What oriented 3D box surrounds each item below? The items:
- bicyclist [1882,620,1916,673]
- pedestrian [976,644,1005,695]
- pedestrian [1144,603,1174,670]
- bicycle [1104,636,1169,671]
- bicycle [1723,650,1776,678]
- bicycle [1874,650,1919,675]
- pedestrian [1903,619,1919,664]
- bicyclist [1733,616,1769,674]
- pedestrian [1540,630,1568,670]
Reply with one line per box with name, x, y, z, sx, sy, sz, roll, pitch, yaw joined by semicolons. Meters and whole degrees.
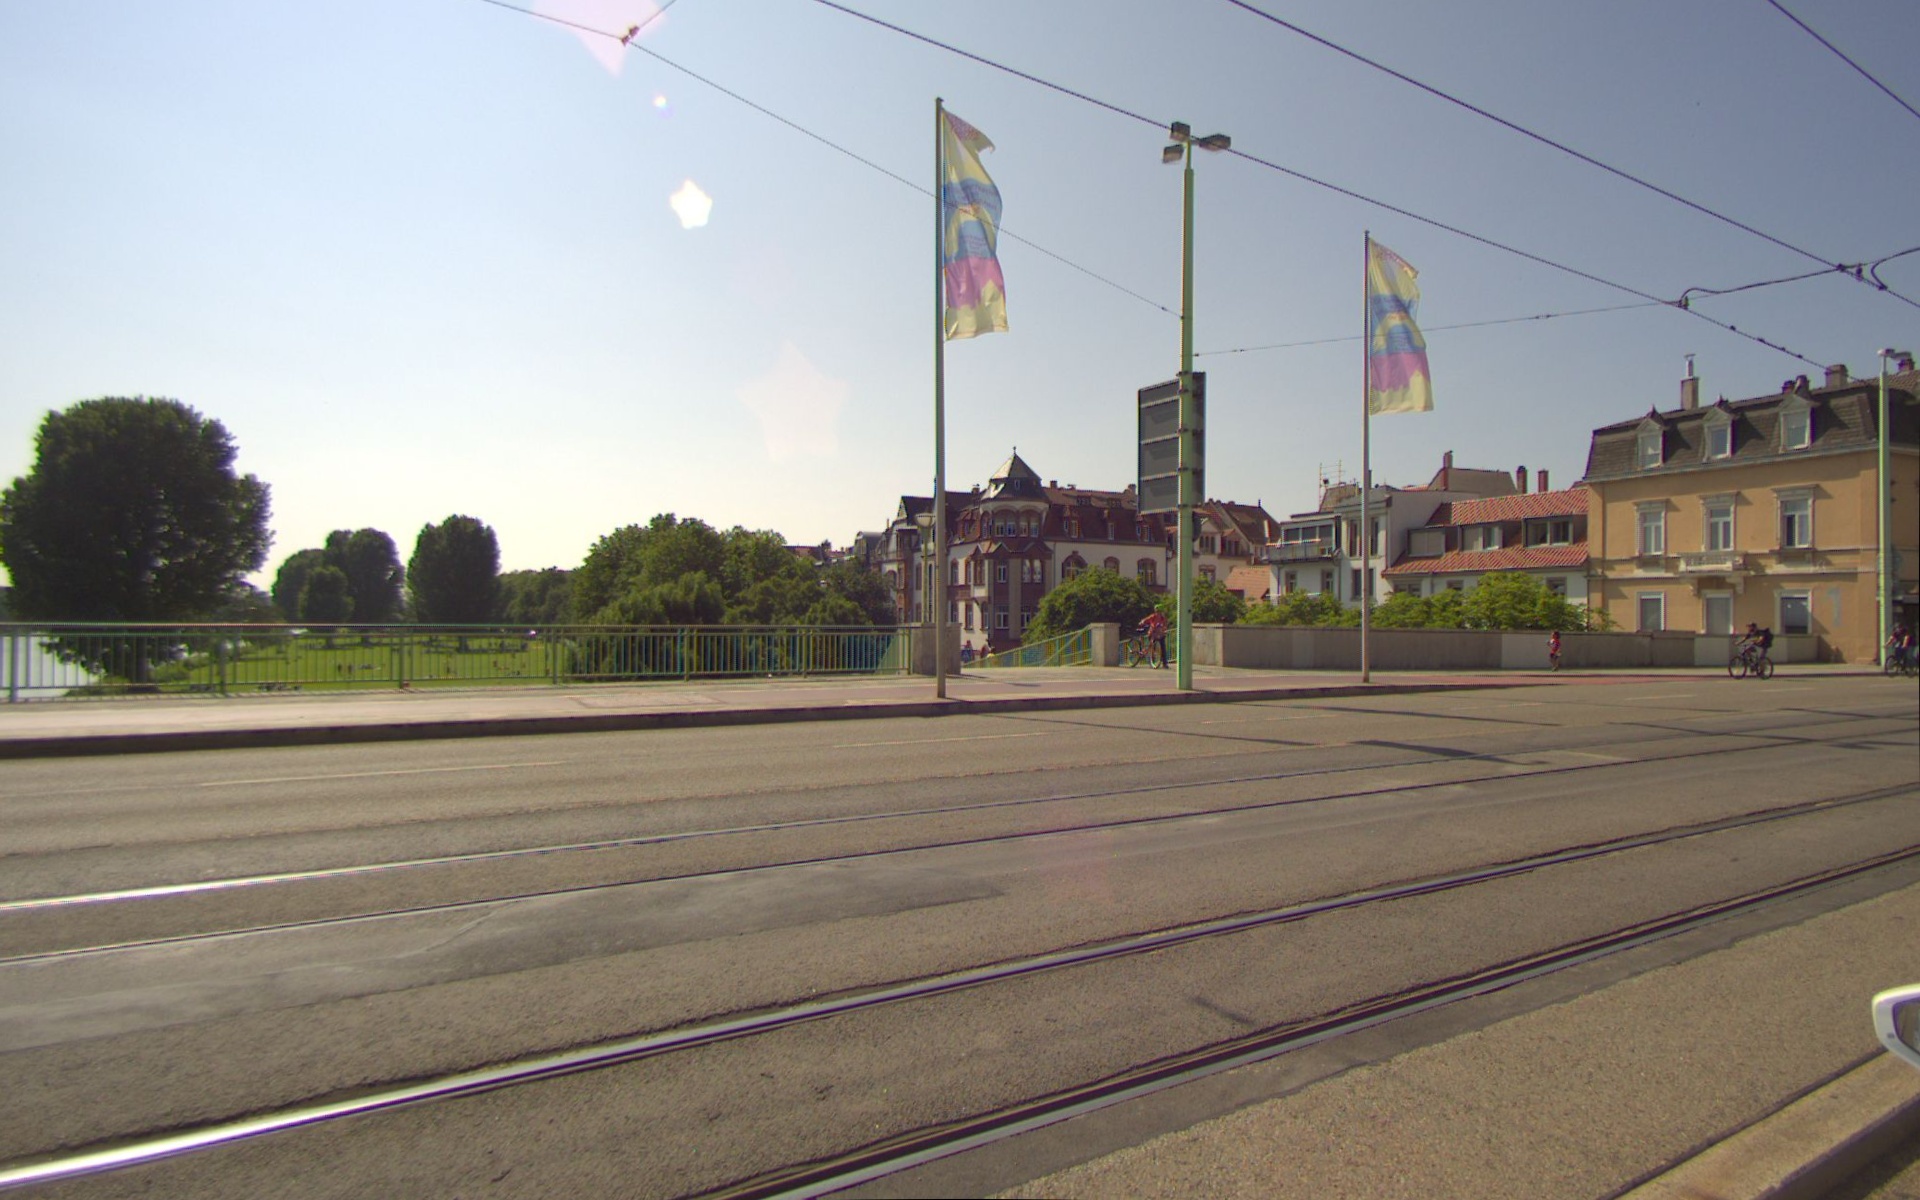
bicyclist;30.316;1.500;32.428;0.614;1.672;0.624;0;2;-29
pedestrian;1.081;2.473;35.953;0.791;1.804;0.743;1;-1;-25
pedestrian;5.063;0.927;25.619;0.408;1.654;0.623;1;1;-26
bicycle;4.479;1.347;25.612;0.614;0.726;1.921;0;1;-26
bicycle;23.561;1.906;29.968;1.750;0.726;0.617;0;1;-30
bicycle;30.251;2.010;32.416;1.711;0.726;0.617;0;1;-30
pedestrian;35.895;1.548;37.596;0.559;1.624;0.646;-1;5;-29
bicyclist;23.564;1.333;29.942;0.614;1.672;0.624;0;2;-29
pedestrian;17.833;1.500;30.150;0.536;1.161;0.411;2;3;-21
